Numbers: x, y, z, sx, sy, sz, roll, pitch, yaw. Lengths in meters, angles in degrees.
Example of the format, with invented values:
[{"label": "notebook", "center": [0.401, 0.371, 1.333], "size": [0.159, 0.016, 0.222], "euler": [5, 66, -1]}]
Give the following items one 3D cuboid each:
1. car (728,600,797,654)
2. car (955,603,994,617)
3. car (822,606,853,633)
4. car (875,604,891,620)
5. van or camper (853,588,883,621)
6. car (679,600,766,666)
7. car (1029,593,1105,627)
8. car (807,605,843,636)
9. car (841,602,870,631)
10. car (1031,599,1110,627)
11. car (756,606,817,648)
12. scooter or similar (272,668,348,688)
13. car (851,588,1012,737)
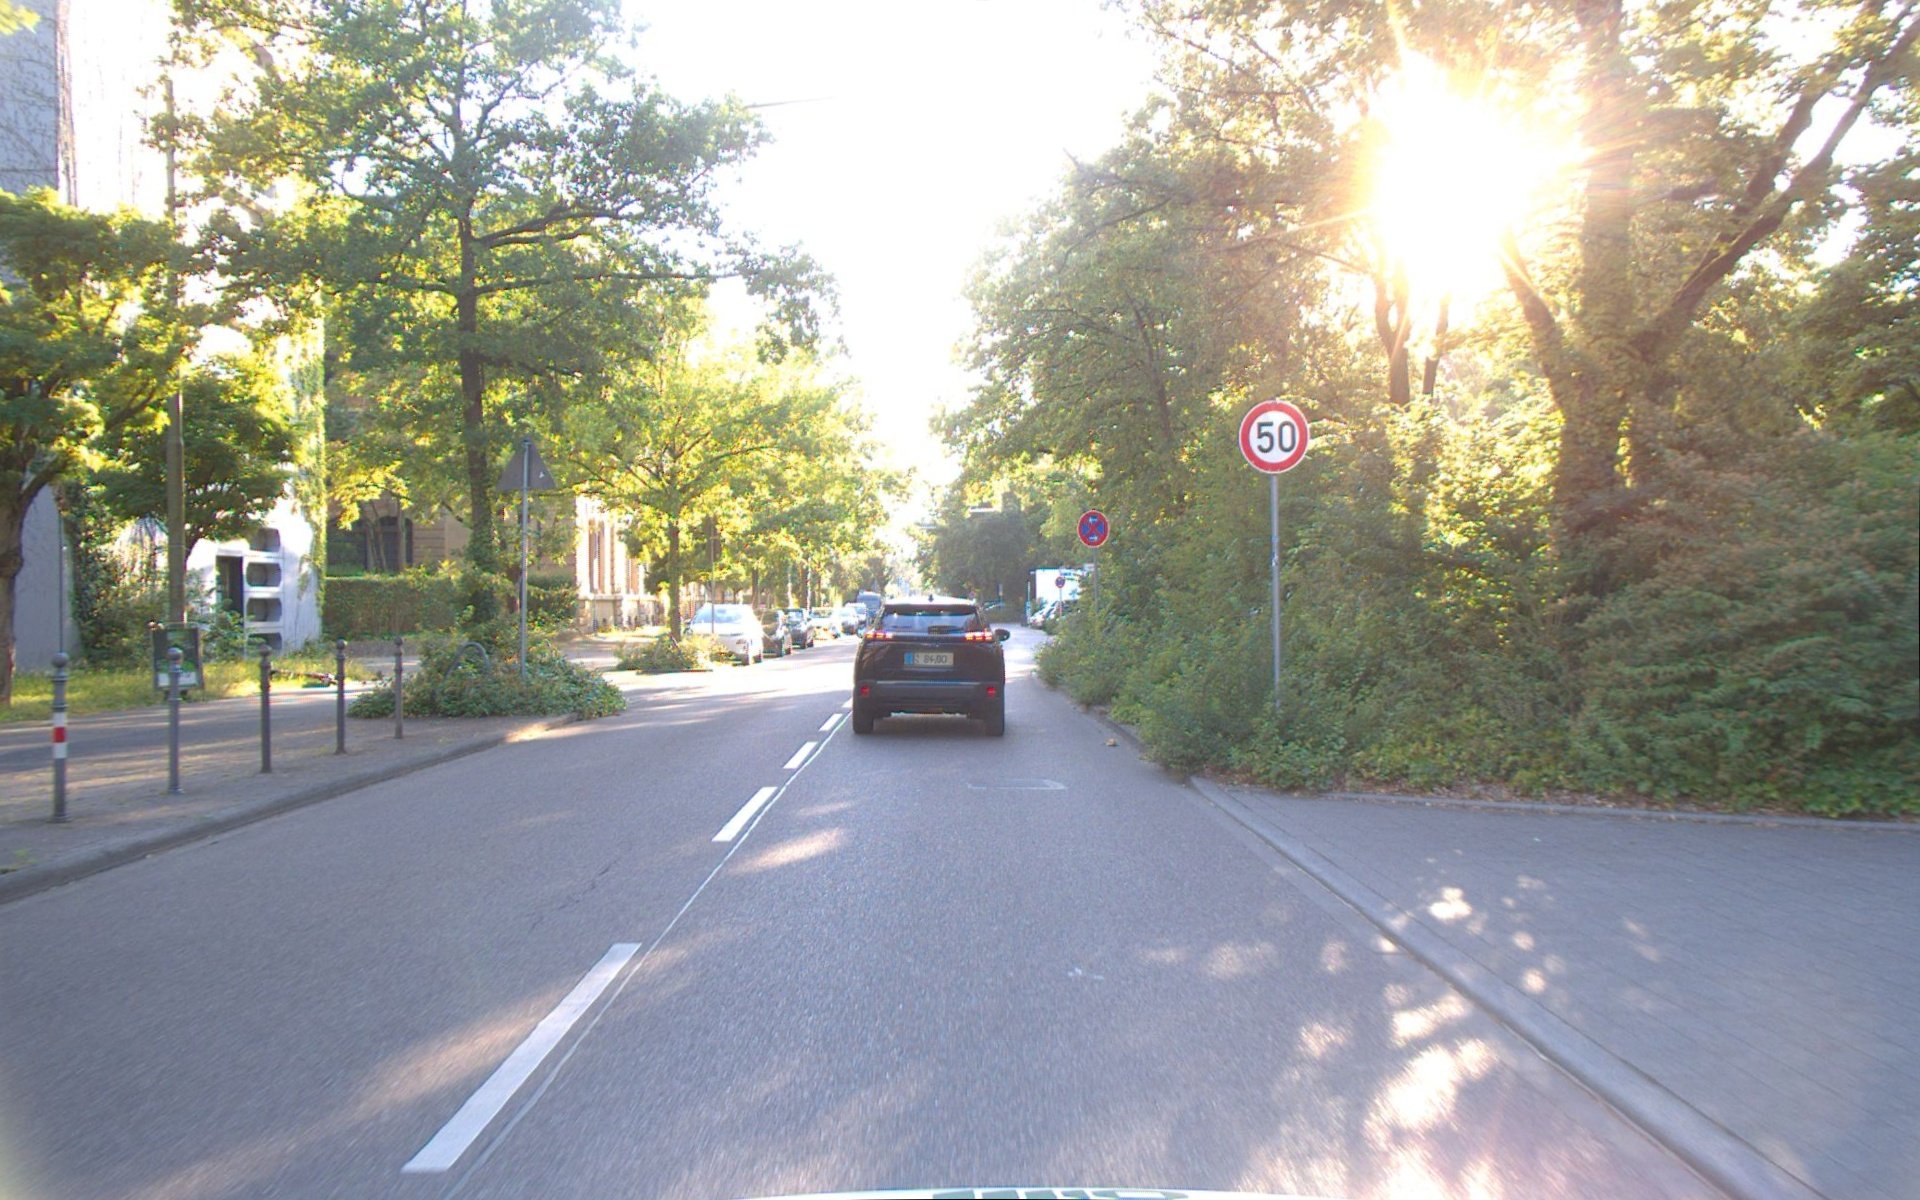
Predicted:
[{"label": "car", "center": [-6.203, 0.834, 52.318], "size": [1.744, 1.644, 4.146], "euler": [0, 0, -1]}, {"label": "car", "center": [1.597, 1.123, 184.567], "size": [4.158, 1.474, 2.020], "euler": [-2, 0, -3]}, {"label": "car", "center": [-7.116, 1.095, 96.401], "size": [1.585, 1.522, 4.376], "euler": [0, 0, -1]}, {"label": "car", "center": [-7.904, 1.199, 169.280], "size": [1.581, 1.541, 3.710], "euler": [-3, 0, -3]}, {"label": "van or camper", "center": [-7.388, 0.391, 133.733], "size": [2.184, 2.589, 7.077], "euler": [1, 0, -2]}, {"label": "car", "center": [-6.236, 0.850, 43.849], "size": [1.767, 1.644, 4.146], "euler": [-1, 0, -1]}, {"label": "car", "center": [6.974, 0.652, 108.159], "size": [4.755, 1.949, 1.915], "euler": [-3, 0, -2]}, {"label": "car", "center": [-6.806, 1.001, 83.721], "size": [1.585, 1.522, 3.923], "euler": [0, 0, -1]}, {"label": "car", "center": [-7.197, 1.146, 114.669], "size": [1.741, 1.898, 4.331], "euler": [2, 0, -1]}, {"label": "car", "center": [7.025, 0.827, 105.840], "size": [4.827, 1.581, 1.915], "euler": [-3, 0, -2]}, {"label": "car", "center": [-6.515, 0.987, 62.606], "size": [1.765, 1.537, 4.862], "euler": [0, 0, 0]}, {"label": "scooter or similar", "center": [-11.498, 1.383, 29.311], "size": [1.143, 0.281, 1.245], "euler": [0, 0, -16]}, {"label": "car", "center": [-0.335, 0.670, 19.971], "size": [1.735, 1.596, 4.108], "euler": [0, 0, -1]}]
